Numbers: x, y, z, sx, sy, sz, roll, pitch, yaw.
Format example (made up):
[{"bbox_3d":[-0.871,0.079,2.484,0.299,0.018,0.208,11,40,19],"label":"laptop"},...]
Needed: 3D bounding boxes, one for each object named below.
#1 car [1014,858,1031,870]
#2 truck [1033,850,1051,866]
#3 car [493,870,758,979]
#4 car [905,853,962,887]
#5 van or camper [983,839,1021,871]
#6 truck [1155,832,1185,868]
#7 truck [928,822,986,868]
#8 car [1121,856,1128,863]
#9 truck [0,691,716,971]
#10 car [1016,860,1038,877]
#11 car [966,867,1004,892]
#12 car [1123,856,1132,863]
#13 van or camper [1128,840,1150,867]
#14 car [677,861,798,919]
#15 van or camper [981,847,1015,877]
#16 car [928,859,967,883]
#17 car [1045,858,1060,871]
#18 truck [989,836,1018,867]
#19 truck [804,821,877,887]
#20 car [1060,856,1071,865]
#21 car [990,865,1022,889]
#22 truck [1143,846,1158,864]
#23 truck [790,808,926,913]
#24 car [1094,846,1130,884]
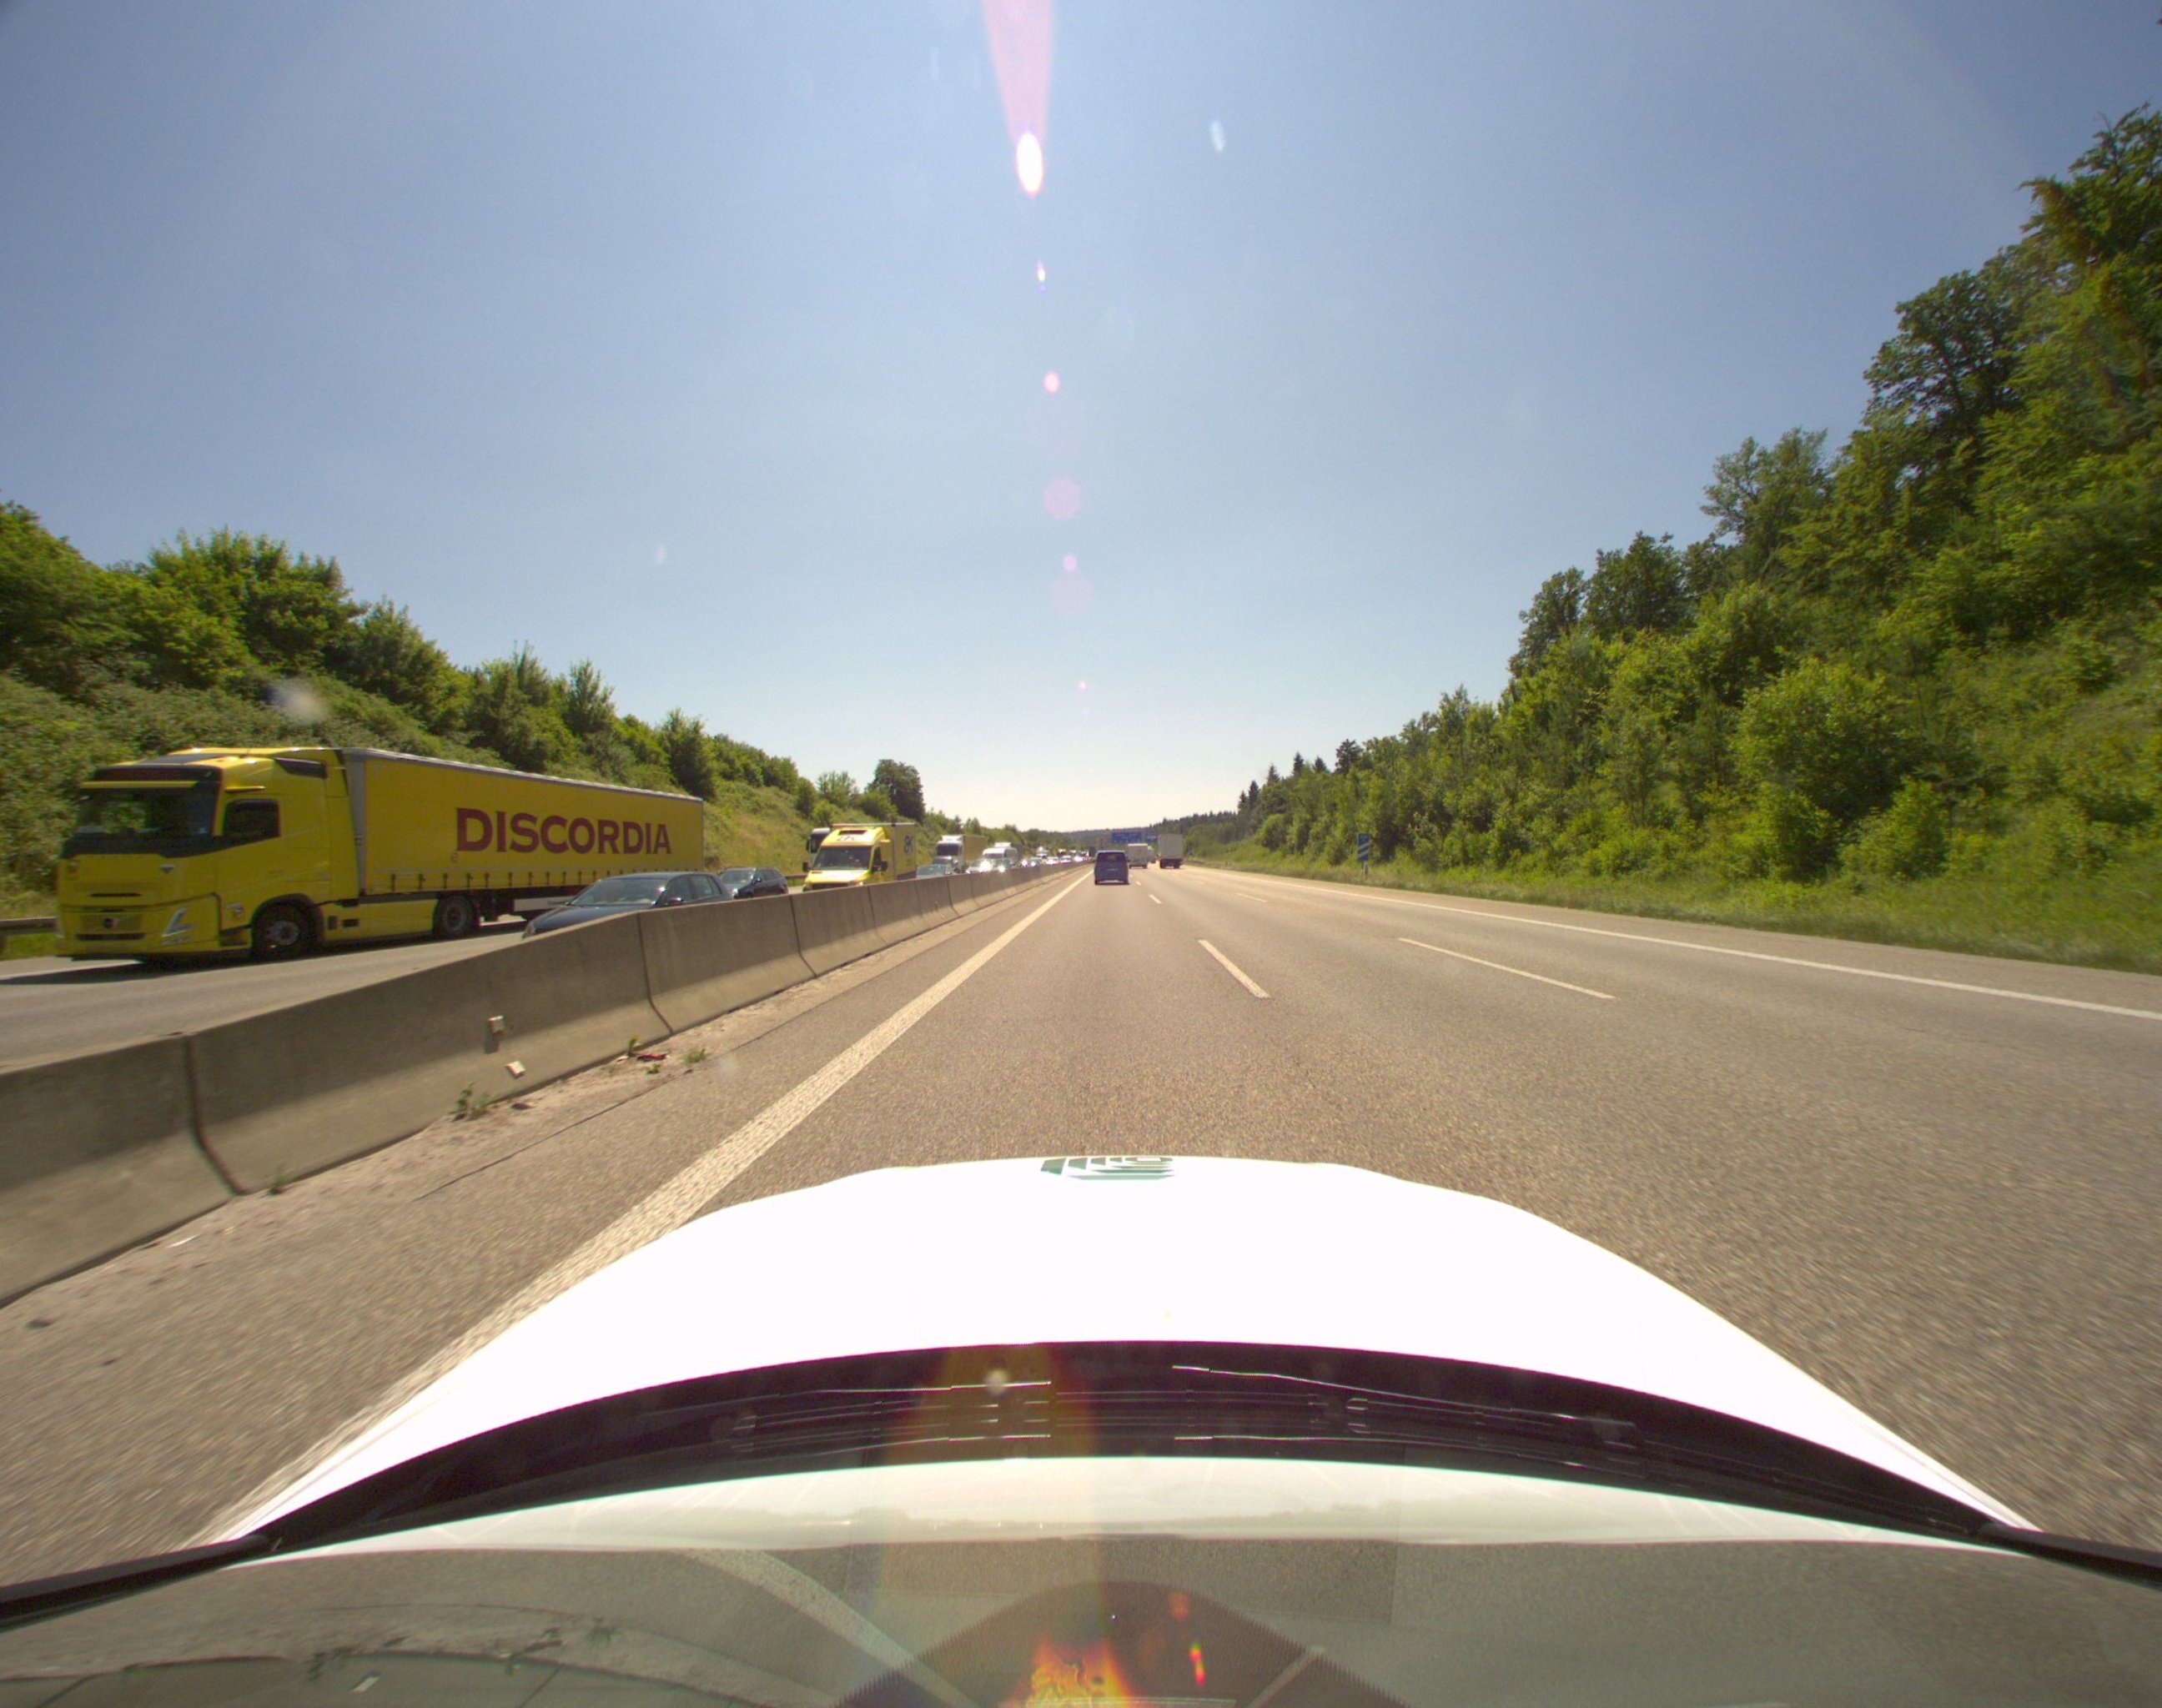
[{"bbox_3d":[-8.105,1.376,112.927,1.821,1.493,4.992,-1,0,1],"label":"car"},{"bbox_3d":[-6.841,0.714,143.321,2.559,2.845,6.754,0,-1,1],"label":"truck"},{"bbox_3d":[-7.372,1.043,13.879,1.822,1.497,4.758,0,-1,0],"label":"car"},{"bbox_3d":[-6.939,0.746,38.821,1.822,1.497,4.758,0,-1,0],"label":"car"},{"bbox_3d":[-7.097,0.132,73.945,2.241,2.775,7.225,-1,-1,4],"label":"van or camper"},{"bbox_3d":[10.747,-0.391,99.602,2.773,4.128,9.741,0,-1,1],"label":"truck"},{"bbox_3d":[-13.219,-0.769,88.787,3.684,4.456,16.672,0,-1,0],"label":"truck"},{"bbox_3d":[11.241,1.431,209.926,1.769,1.772,4.002,-1,0,2],"label":"car"},{"bbox_3d":[-15.761,-0.247,21.752,3.682,4.456,17.387,0,-1,2],"label":"truck"},{"bbox_3d":[-5.495,1.482,84.014,1.821,1.764,4.992,0,-1,1],"label":"car"},{"bbox_3d":[-6.109,1.591,52.282,1.822,1.497,4.758,0,-1,0],"label":"car"},{"bbox_3d":[10.504,1.221,183.513,1.774,1.486,4.002,-1,0,2],"label":"car"},{"bbox_3d":[7.172,-0.112,101.929,2.592,3.078,7.189,0,2,3],"label":"van or camper"},{"bbox_3d":[-11.357,1.144,27.377,1.821,1.764,4.992,0,-1,1],"label":"car"},{"bbox_3d":[-8.578,0.874,85.007,2.187,2.939,7.542,-1,-1,4],"label":"van or camper"},{"bbox_3d":[-9.979,1.247,61.066,1.990,1.728,4.760,0,-1,2],"label":"car"},{"bbox_3d":[-3.927,1.482,112.239,1.821,1.764,4.992,0,-1,1],"label":"car"},{"bbox_3d":[-11.548,-0.269,122.349,2.929,4.516,8.612,0,-1,4],"label":"truck"},{"bbox_3d":[-14.376,0.044,49.110,2.670,3.743,5.871,0,-1,0],"label":"truck"},{"bbox_3d":[-2.715,1.110,142.771,1.821,1.565,5.112,0,-1,1],"label":"car"},{"bbox_3d":[-5.743,1.753,62.737,1.821,1.764,4.992,0,-1,1],"label":"car"},{"bbox_3d":[14.843,0.153,174.138,2.915,3.575,8.534,-2,0,4],"label":"truck"},{"bbox_3d":[-7.084,0.229,26.891,2.258,3.016,6.782,0,-1,3],"label":"truck"},{"bbox_3d":[1.725,0.596,45.950,1.902,2.013,4.002,-1,0,2],"label":"car"}]
